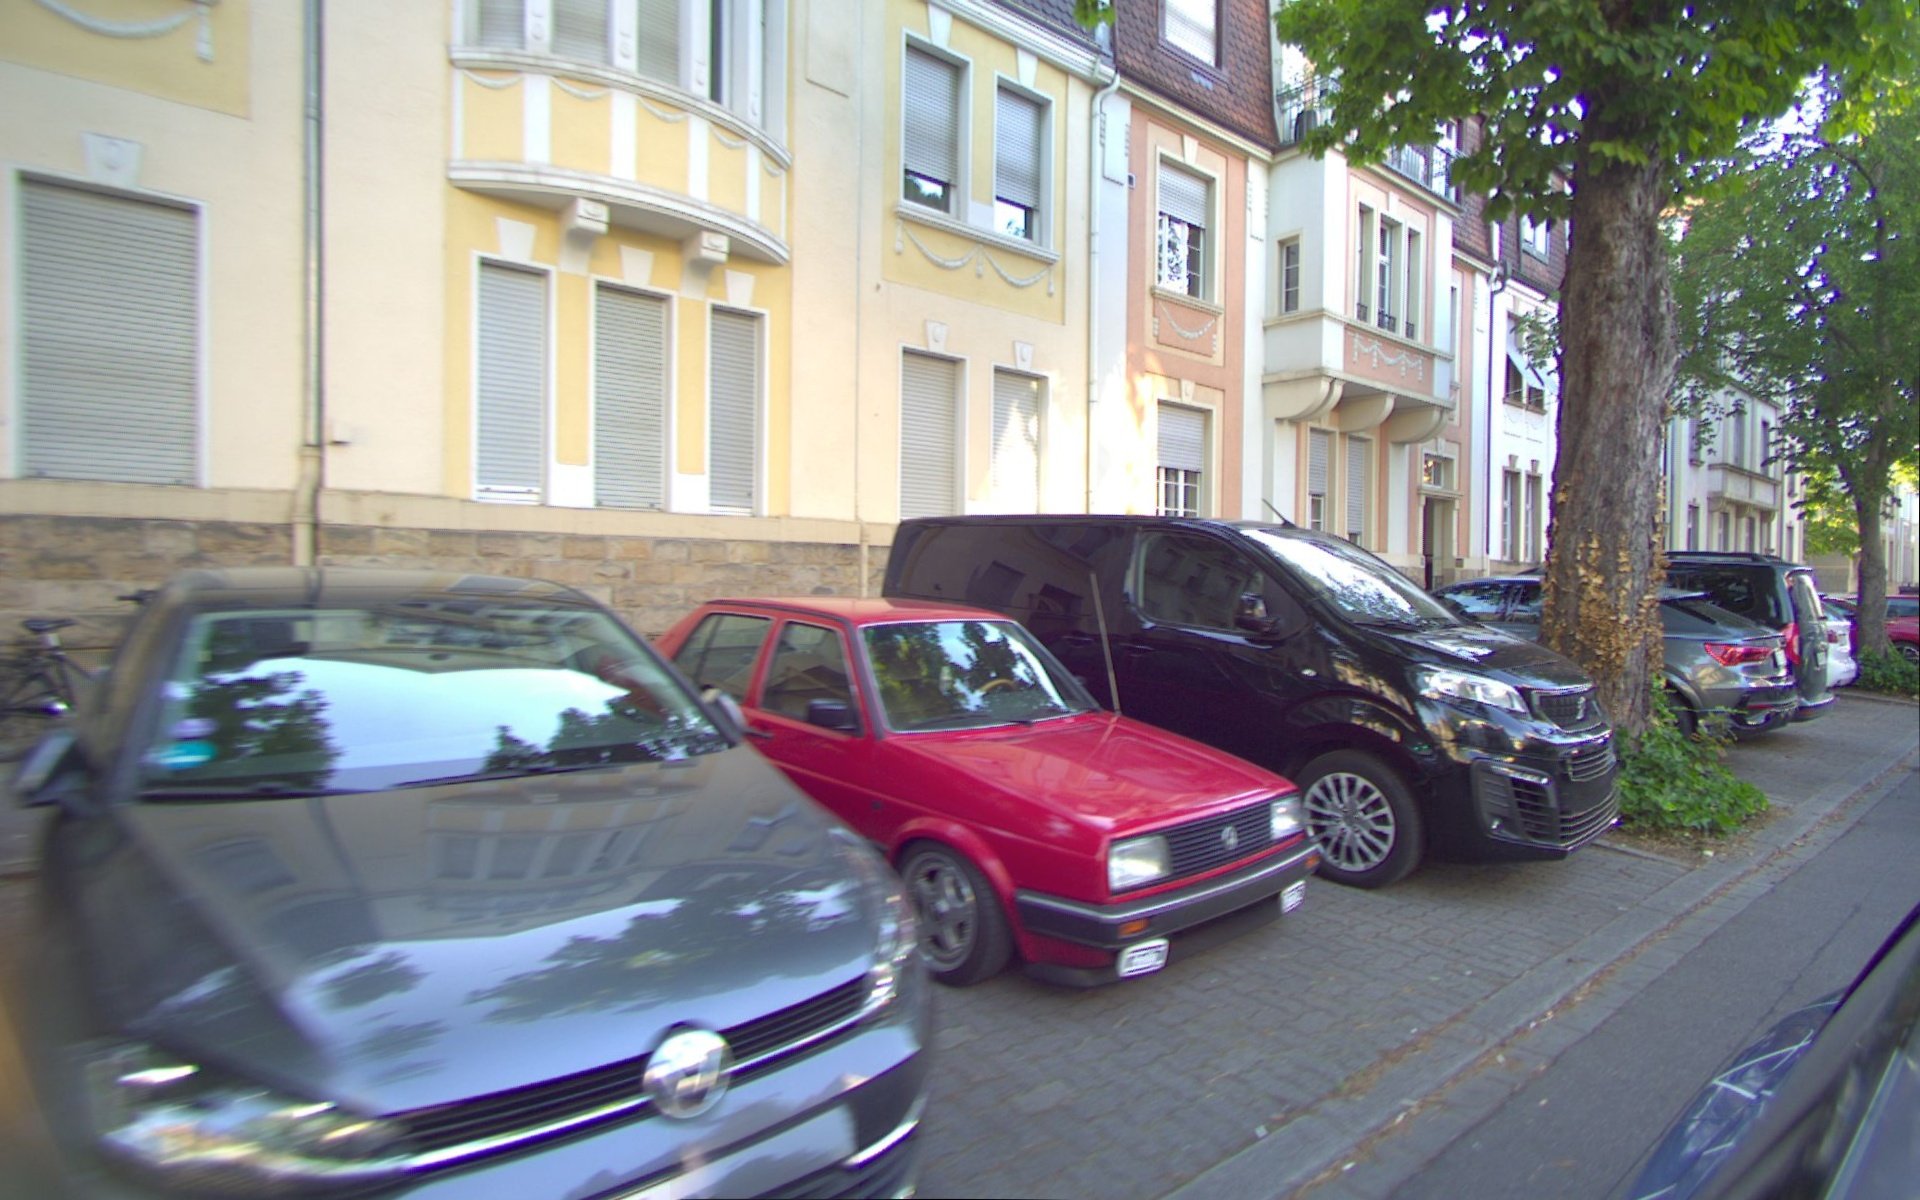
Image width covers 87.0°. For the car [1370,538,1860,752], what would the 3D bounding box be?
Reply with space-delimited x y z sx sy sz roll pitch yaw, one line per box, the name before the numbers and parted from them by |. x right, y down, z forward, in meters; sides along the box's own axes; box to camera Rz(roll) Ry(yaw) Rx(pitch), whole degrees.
car | 6.864 0.293 10.982 1.569 1.849 4.166 -1 4 -43

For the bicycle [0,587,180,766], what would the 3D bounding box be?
bicycle | -6.106 0.476 6.529 1.674 1.089 0.501 0 3 -40

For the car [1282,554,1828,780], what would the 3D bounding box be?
car | 5.371 0.417 9.598 1.569 1.611 4.166 -1 4 -43

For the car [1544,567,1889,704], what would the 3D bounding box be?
car | 10.449 0.379 14.162 1.512 1.569 3.618 0 3 -43

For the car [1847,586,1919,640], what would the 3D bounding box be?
car | 26.913 0.391 27.779 1.510 1.420 3.622 0 2 -39

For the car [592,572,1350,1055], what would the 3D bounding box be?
car | -0.309 0.595 5.033 1.532 1.336 3.918 -1 4 -42

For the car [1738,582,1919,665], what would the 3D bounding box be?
car | 17.740 0.429 19.861 1.510 1.420 3.622 0 3 -39

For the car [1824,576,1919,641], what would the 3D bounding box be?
car | 24.540 0.232 25.775 1.510 1.584 3.622 0 2 -39

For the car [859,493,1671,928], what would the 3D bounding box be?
car | 1.551 0.325 6.673 1.850 1.846 4.827 -1 4 -43

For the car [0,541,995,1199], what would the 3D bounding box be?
car | -1.870 0.572 3.184 1.601 1.439 4.056 -1 4 -42

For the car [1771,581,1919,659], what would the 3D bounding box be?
car | 19.695 0.410 21.451 1.510 1.482 3.622 0 3 -39

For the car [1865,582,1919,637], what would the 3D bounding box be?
car | 28.982 0.317 29.518 1.510 1.584 3.622 0 2 -39
